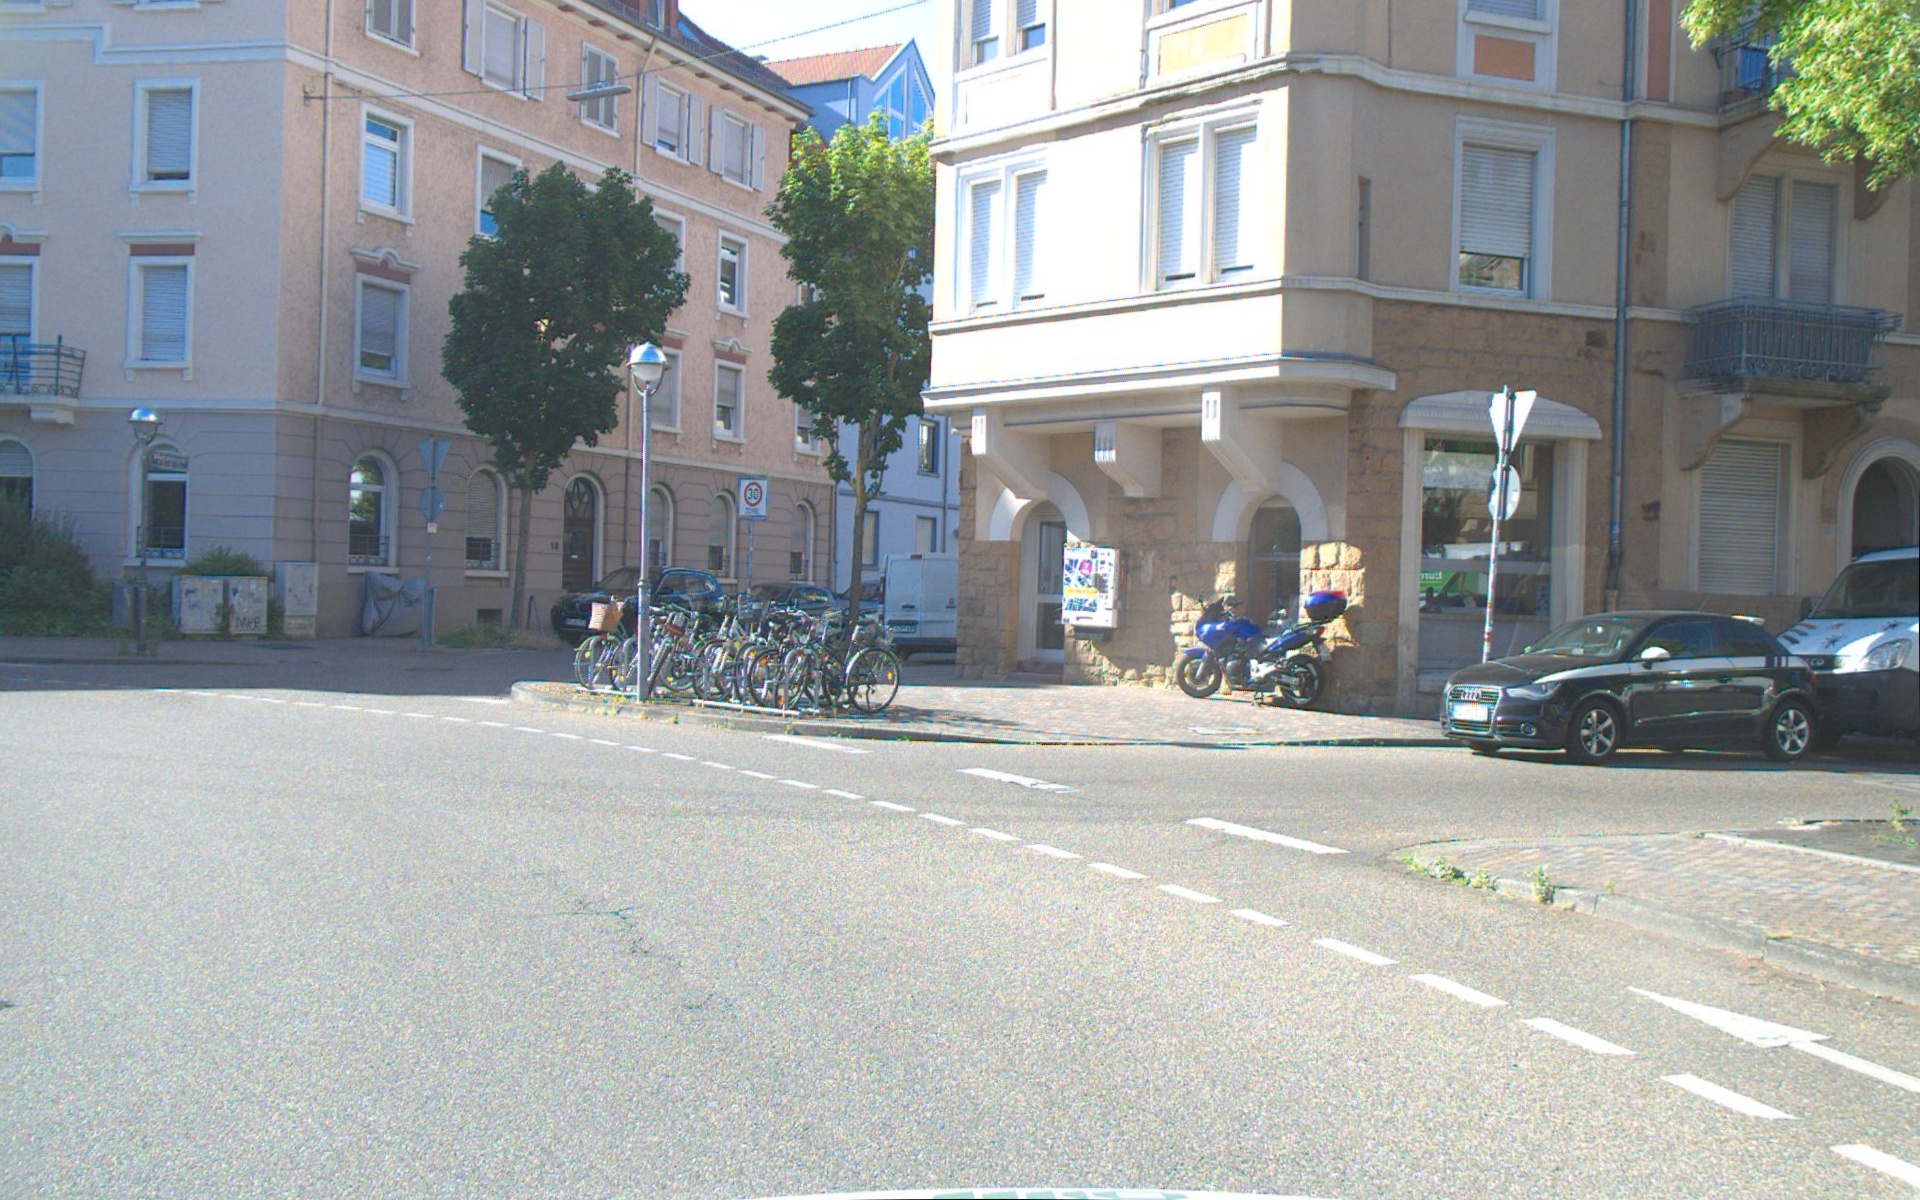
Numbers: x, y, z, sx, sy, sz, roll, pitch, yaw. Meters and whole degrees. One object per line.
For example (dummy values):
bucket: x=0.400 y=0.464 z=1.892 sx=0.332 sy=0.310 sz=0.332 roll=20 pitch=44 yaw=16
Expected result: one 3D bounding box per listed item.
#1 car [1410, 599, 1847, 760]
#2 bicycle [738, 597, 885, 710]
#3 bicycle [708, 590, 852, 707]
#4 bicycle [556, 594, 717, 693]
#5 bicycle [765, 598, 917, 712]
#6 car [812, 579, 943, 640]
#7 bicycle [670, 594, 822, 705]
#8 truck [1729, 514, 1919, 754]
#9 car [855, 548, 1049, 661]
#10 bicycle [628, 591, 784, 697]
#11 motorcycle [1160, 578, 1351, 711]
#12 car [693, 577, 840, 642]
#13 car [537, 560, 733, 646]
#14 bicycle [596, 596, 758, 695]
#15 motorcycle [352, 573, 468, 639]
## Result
car: x=6.477 y=0.739 z=16.047 sx=3.854 sy=1.414 sz=1.677 roll=1 pitch=-1 yaw=-22
bicycle: x=-1.572 y=0.555 z=17.716 sx=0.475 sy=1.143 sz=1.686 roll=1 pitch=0 yaw=42
bicycle: x=-1.934 y=0.515 z=17.984 sx=0.443 sy=1.212 sz=1.686 roll=1 pitch=0 yaw=42
bicycle: x=-3.885 y=0.519 z=19.968 sx=0.687 sy=1.149 sz=1.855 roll=0 pitch=-1 yaw=44
bicycle: x=-1.232 y=0.564 z=17.422 sx=0.475 sy=1.143 sz=1.707 roll=1 pitch=0 yaw=44
car: x=-2.157 y=0.250 z=44.361 sx=1.664 sy=1.512 sz=3.997 roll=2 pitch=0 yaw=28
bicycle: x=-2.352 y=0.528 z=18.338 sx=0.606 sy=1.165 sz=1.686 roll=1 pitch=0 yaw=42
truck: x=11.826 y=0.398 z=18.069 sx=6.495 sy=2.332 sz=2.129 roll=1 pitch=-1 yaw=-17
car: x=-0.051 y=0.079 z=31.413 sx=2.091 sy=1.942 sz=4.561 roll=2 pitch=0 yaw=22
bicycle: x=-2.908 y=0.497 z=19.022 sx=1.681 sy=1.165 sz=0.629 roll=1 pitch=0 yaw=-40
motorcycle: x=3.558 y=0.498 z=20.069 sx=2.211 sy=1.435 sz=0.696 roll=4 pitch=3 yaw=42
car: x=-4.548 y=0.222 z=39.358 sx=1.664 sy=1.436 sz=3.658 roll=2 pitch=0 yaw=28
car: x=-6.786 y=0.063 z=34.971 sx=1.865 sy=1.670 sz=4.344 roll=2 pitch=0 yaw=24
bicycle: x=-3.313 y=0.522 z=19.484 sx=1.861 sy=1.109 sz=0.528 roll=1 pitch=0 yaw=-40
motorcycle: x=-11.089 y=0.117 z=33.429 sx=0.922 sy=1.241 sz=2.150 roll=3 pitch=2 yaw=28
